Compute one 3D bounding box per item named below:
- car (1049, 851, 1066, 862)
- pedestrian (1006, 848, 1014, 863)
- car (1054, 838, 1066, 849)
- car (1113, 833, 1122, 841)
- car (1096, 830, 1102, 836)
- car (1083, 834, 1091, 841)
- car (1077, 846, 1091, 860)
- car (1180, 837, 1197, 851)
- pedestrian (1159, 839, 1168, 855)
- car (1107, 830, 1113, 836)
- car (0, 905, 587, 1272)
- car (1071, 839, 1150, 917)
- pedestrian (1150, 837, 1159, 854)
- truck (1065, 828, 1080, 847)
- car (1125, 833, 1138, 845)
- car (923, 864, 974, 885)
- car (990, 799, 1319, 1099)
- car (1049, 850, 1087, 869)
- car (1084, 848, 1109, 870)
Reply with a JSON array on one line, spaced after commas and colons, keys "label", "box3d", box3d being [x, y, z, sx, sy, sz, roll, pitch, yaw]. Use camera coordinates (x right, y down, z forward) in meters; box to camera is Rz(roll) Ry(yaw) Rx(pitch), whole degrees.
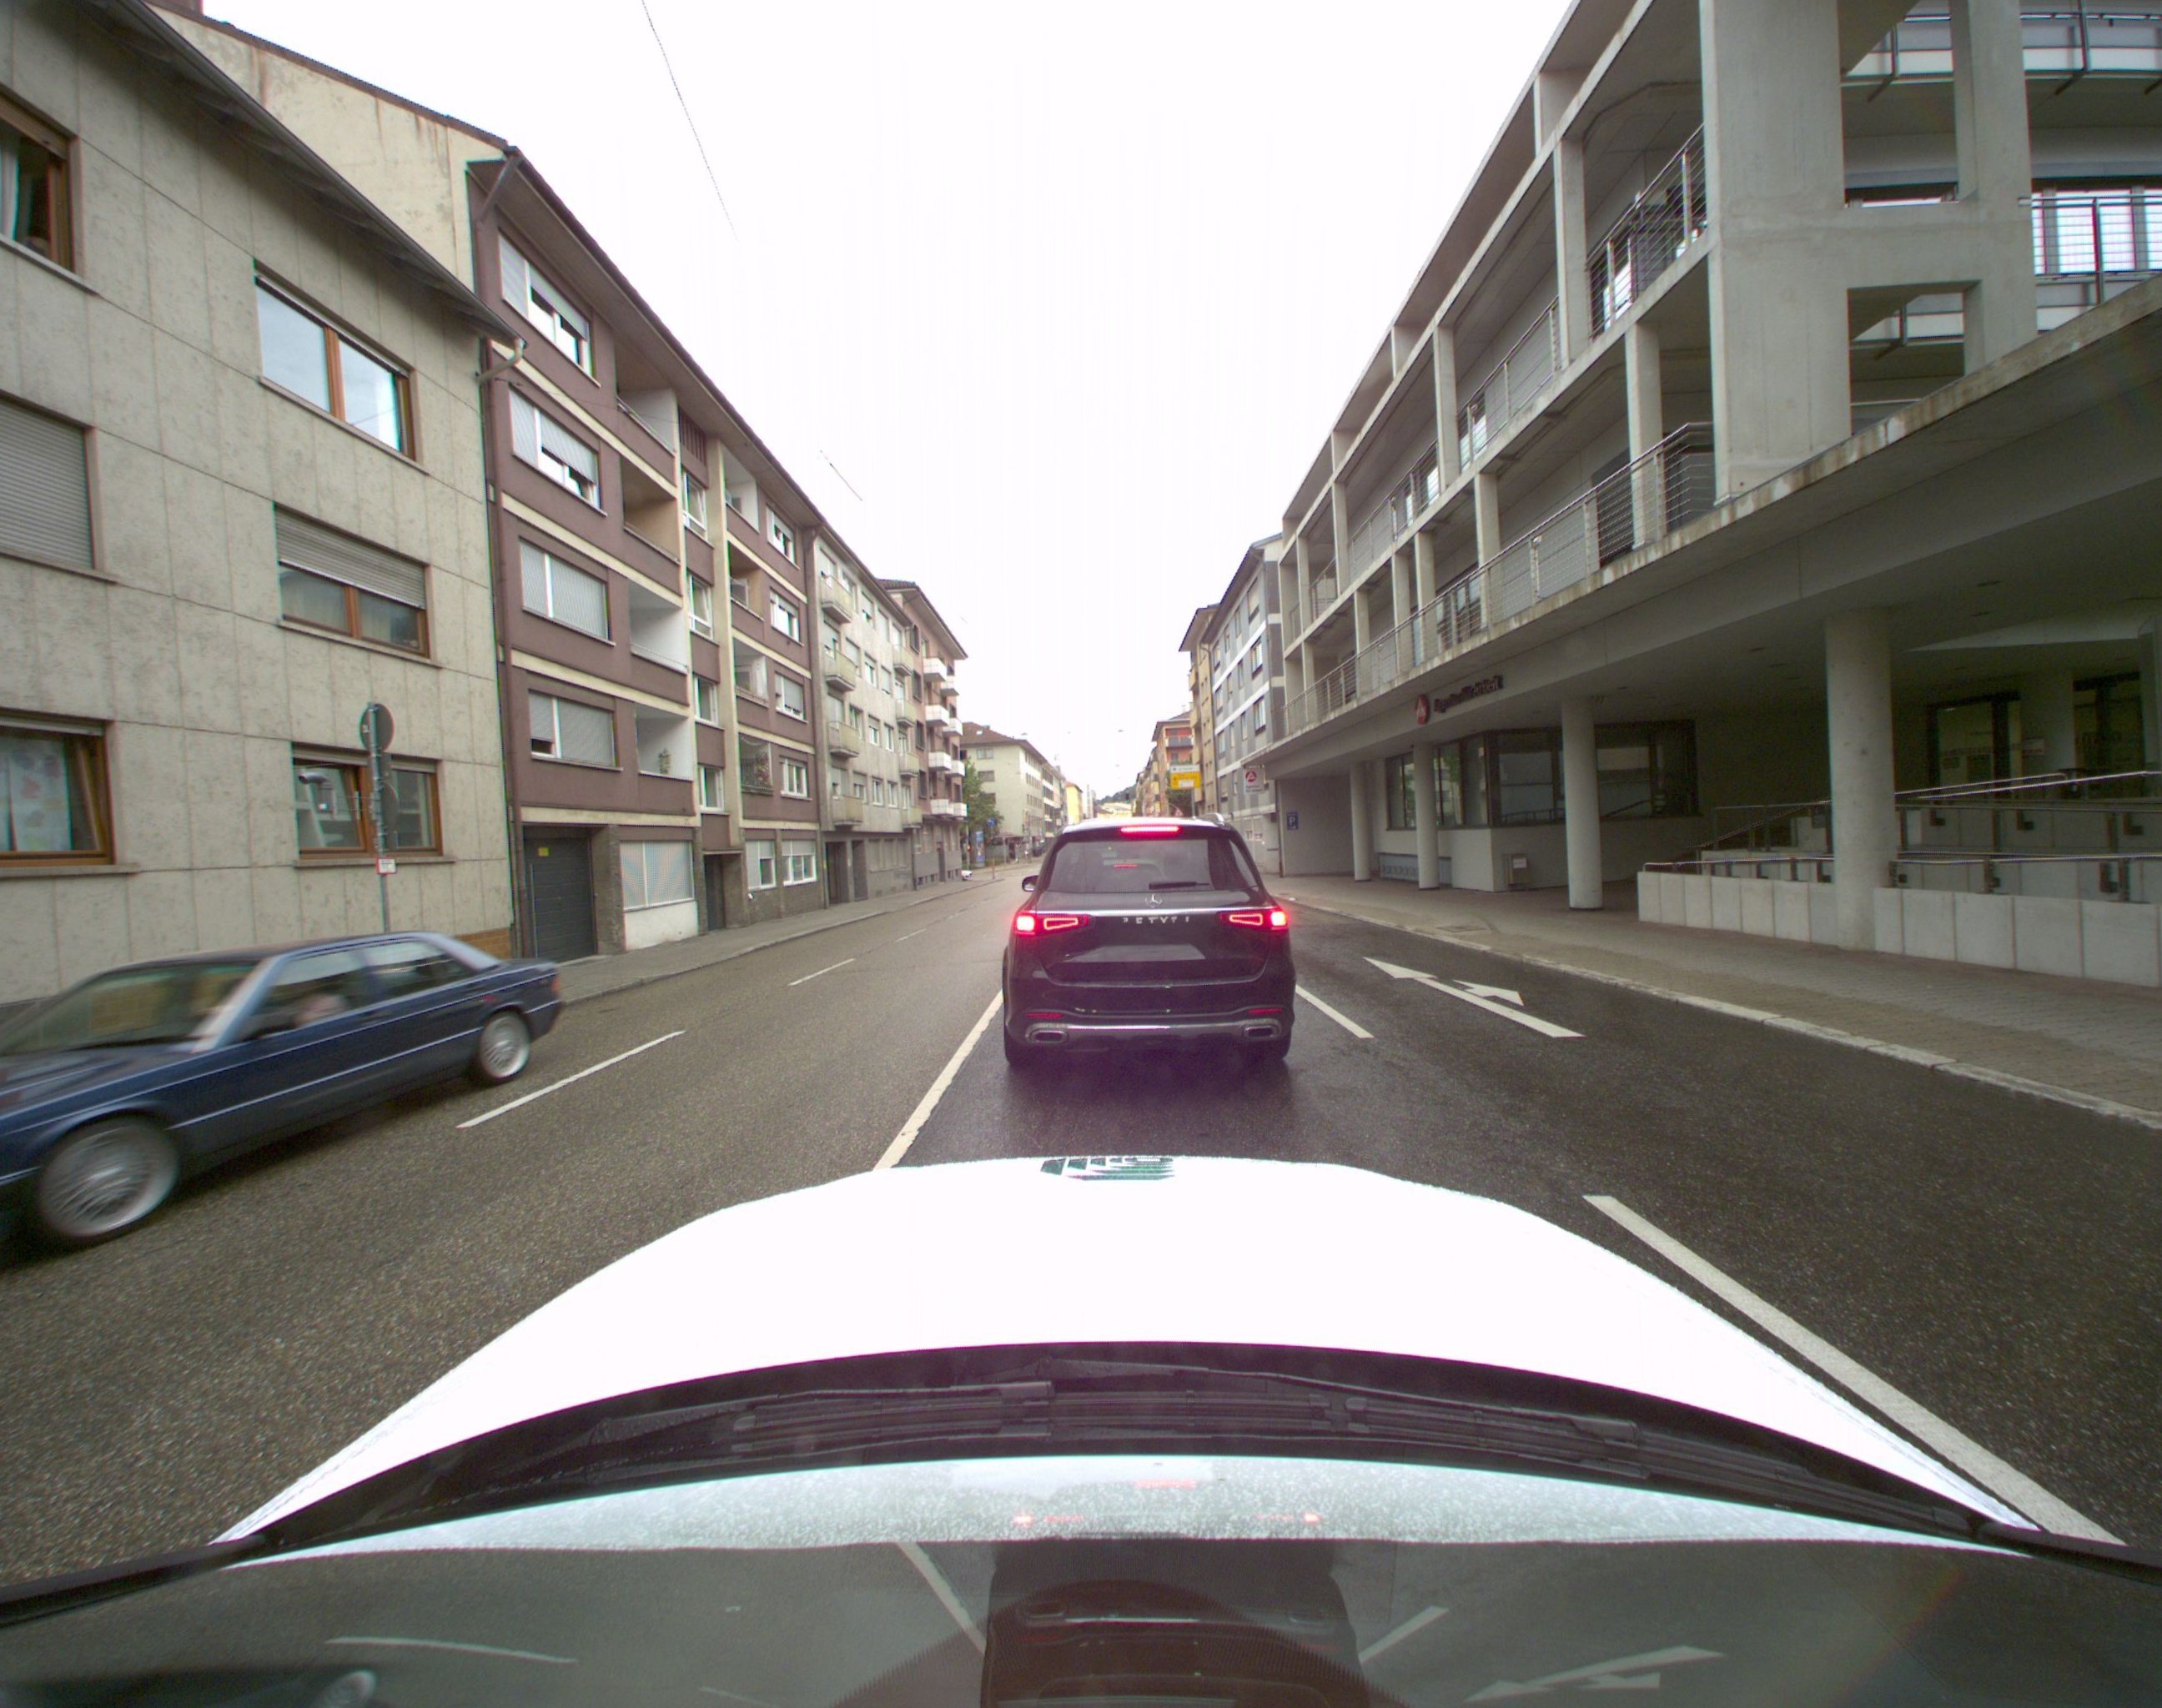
[{"label": "car", "box3d": [-2.903, 0.331, 101.443, 1.879, 1.264, 4.216, -5, -1, 0]}, {"label": "pedestrian", "box3d": [-8.902, 0.200, 102.292, 0.920, 1.902, 0.706, -3, 0, 0]}, {"label": "car", "box3d": [-3.378, -1.687, 131.951, 1.613, 1.539, 4.216, -4, -1, 0]}, {"label": "car", "box3d": [7.721, -3.639, 171.348, 1.613, 1.387, 4.216, -4, -1, 0]}, {"label": "car", "box3d": [5.565, -6.328, 250.410, 1.613, 1.539, 4.216, -4, -1, 0]}, {"label": "car", "box3d": [1.466, -3.916, 193.974, 1.613, 1.539, 4.216, -4, -1, 0]}, {"label": "car", "box3d": [0.391, -0.122, 101.434, 1.613, 1.539, 4.216, -4, -1, 0]}, {"label": "car", "box3d": [12.485, -1.152, 94.541, 1.664, 1.588, 3.334, -3, 0, 4]}, {"label": "pedestrian", "box3d": [9.798, -0.854, 96.716, 0.920, 1.804, 0.706, -3, 0, 0]}, {"label": "car", "box3d": [8.990, -6.383, 252.621, 1.613, 1.539, 4.216, -4, -1, 0]}, {"label": "car", "box3d": [-5.541, 1.230, 5.466, 1.593, 1.370, 4.363, -6, 0, 1]}, {"label": "car", "box3d": [0.671, 0.583, 20.961, 1.746, 1.731, 4.216, -3, -1, 0]}, {"label": "pedestrian", "box3d": [9.183, -1.030, 101.801, 0.920, 2.013, 0.706, -3, 0, 0]}, {"label": "truck", "box3d": [-1.589, -3.146, 157.375, 2.472, 3.046, 9.917, -4, -1, 0]}, {"label": "car", "box3d": [8.308, -2.436, 135.313, 1.718, 1.759, 4.217, -4, 1, 0]}, {"label": "car", "box3d": [-11.905, 1.816, 73.222, 4.343, 1.539, 1.773, -4, -1, -9]}, {"label": "car", "box3d": [0.514, 0.595, 7.140, 1.977, 1.805, 4.391, 0, -1, 2]}, {"label": "car", "box3d": [-1.225, 0.514, 76.346, 1.628, 1.539, 4.177, -4, -1, -30]}, {"label": "car", "box3d": [1.276, 0.424, 65.205, 1.807, 1.539, 4.221, -5, -1, 3]}]
